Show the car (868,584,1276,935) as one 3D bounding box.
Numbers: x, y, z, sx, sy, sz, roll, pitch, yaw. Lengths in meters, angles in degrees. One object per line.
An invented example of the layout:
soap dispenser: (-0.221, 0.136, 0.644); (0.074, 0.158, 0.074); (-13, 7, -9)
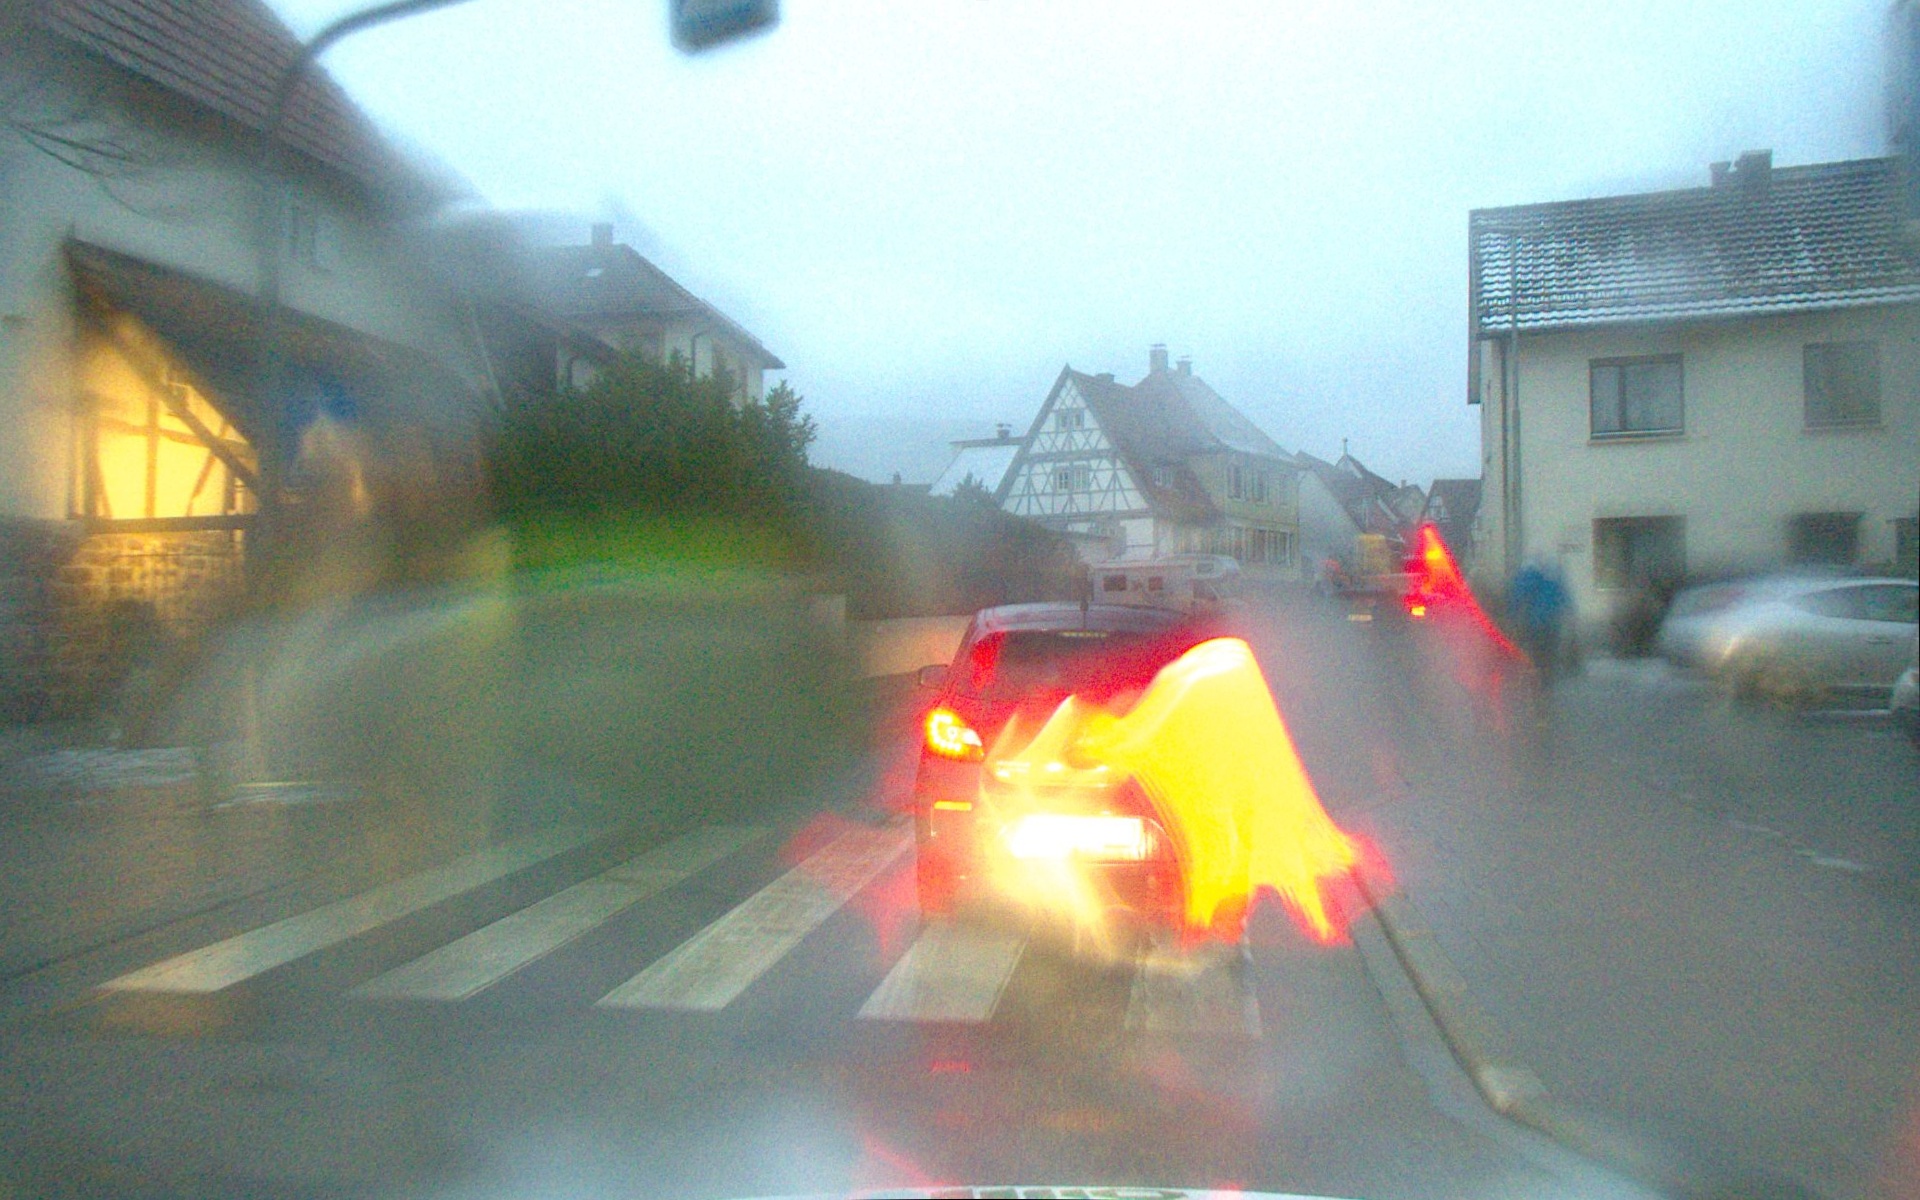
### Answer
car: (0.579, 0.676, 9.188); (1.758, 1.502, 4.002); (1, 0, 3)

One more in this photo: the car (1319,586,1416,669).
car: (8.841, 0.542, 35.661); (1.808, 1.665, 4.338); (0, 0, 17)

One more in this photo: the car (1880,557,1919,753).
car: (8.790, 0.369, 12.346); (2.999, 1.500, 1.551); (-2, 0, 13)

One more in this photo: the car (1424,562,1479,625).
car: (19.682, -0.261, 66.121); (1.777, 2.455, 3.751); (-1, 0, 21)

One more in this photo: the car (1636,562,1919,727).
car: (8.926, 0.395, 16.406); (3.816, 1.500, 1.752); (-2, 0, 13)

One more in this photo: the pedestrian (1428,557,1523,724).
pedestrian: (5.520, 0.425, 17.738); (0.849, 1.696, 0.992); (-4, -1, 17)

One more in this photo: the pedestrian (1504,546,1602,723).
pedestrian: (6.244, 0.354, 17.452); (0.830, 1.763, 0.972); (-4, -1, 18)

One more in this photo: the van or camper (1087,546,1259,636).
van or camper: (8.150, -0.299, 63.297); (5.941, 3.006, 2.404); (-4, -1, 25)
